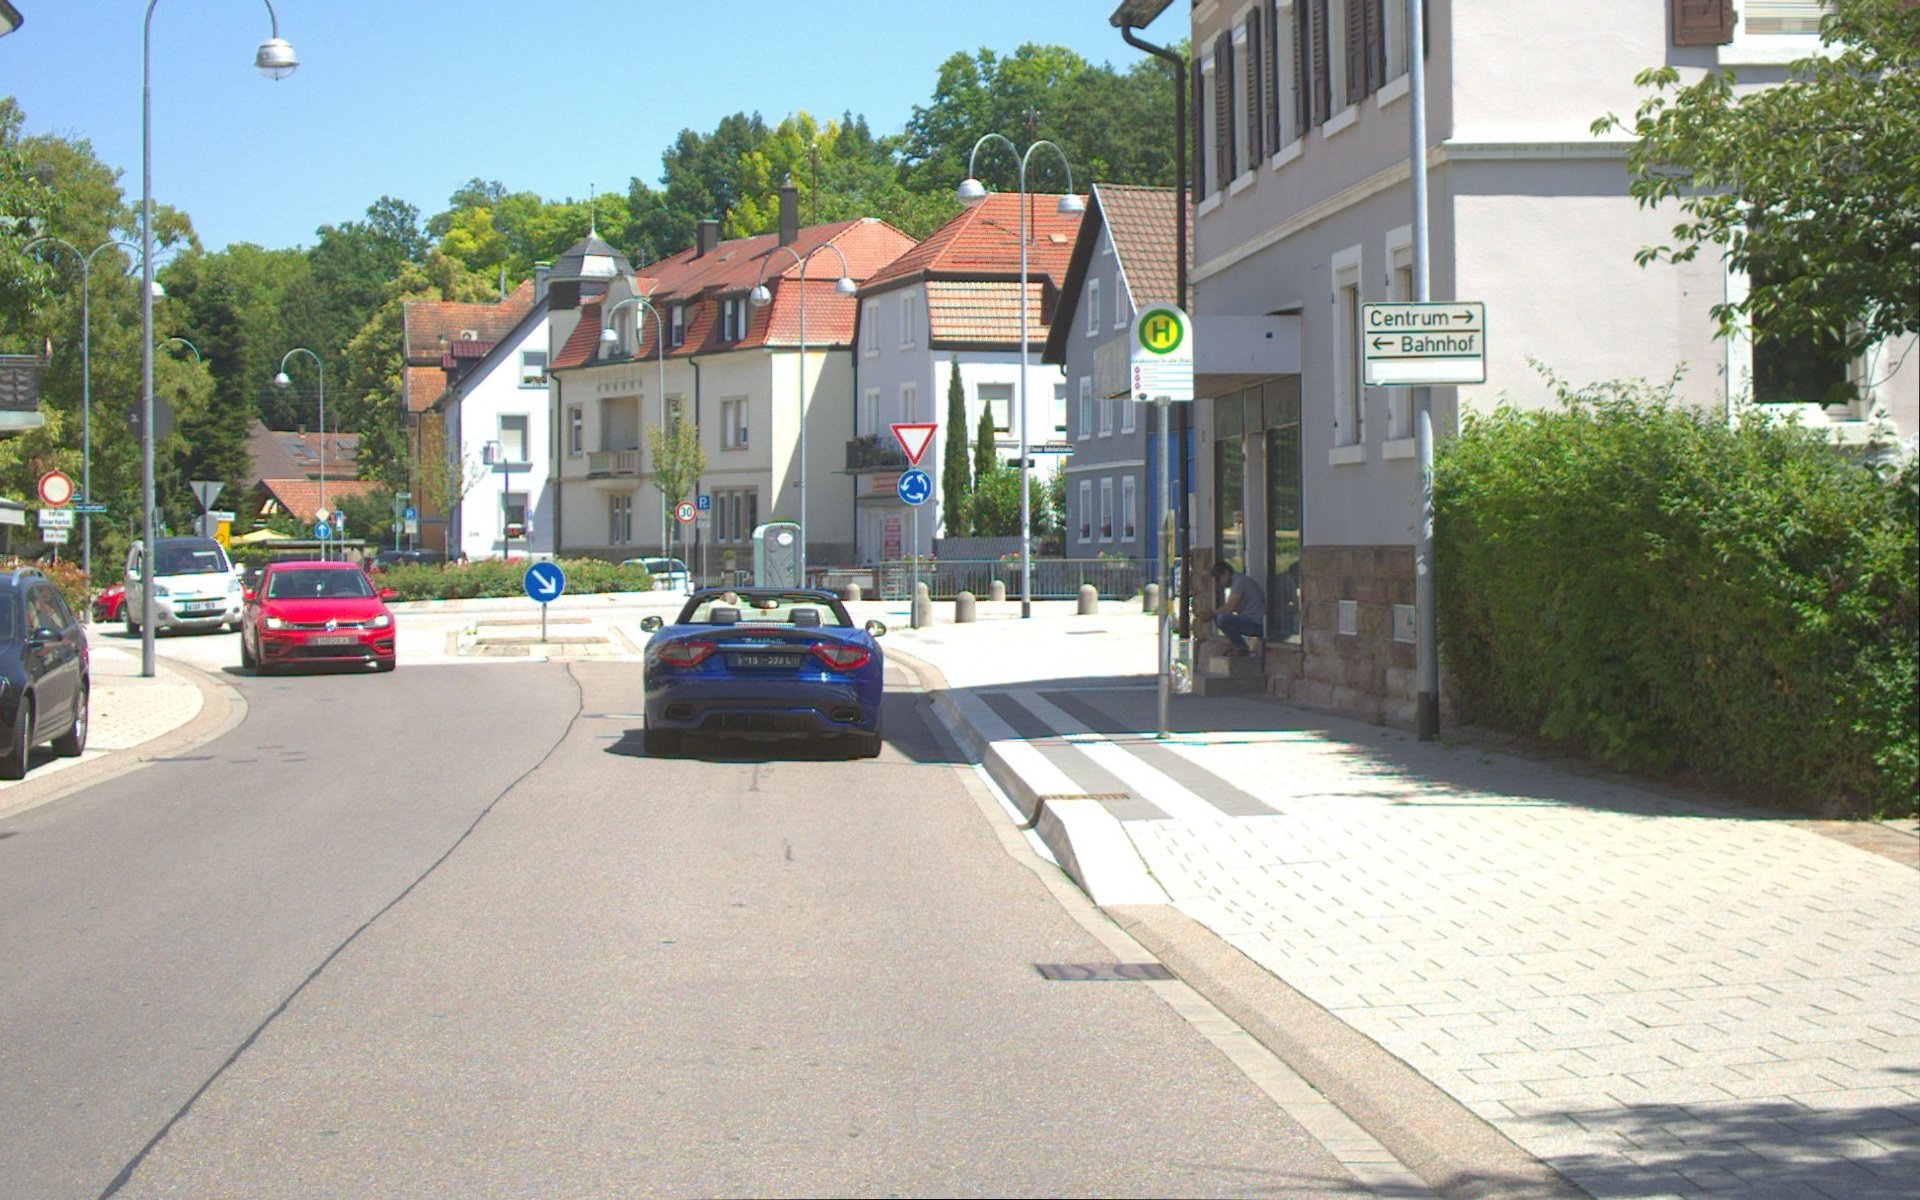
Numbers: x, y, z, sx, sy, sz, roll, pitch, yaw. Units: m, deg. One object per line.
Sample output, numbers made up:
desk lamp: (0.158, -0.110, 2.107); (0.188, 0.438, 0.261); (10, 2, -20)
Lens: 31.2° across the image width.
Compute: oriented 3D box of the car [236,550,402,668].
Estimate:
car: (-8.441, 0.096, 45.530); (1.915, 1.422, 3.981); (-2, 1, -8)

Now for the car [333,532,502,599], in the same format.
car: (-11.313, -0.702, 71.475); (1.993, 1.325, 4.200); (-2, 1, -31)

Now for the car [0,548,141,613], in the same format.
car: (-20.178, -0.426, 76.116); (3.743, 1.327, 1.814); (-2, 1, -21)

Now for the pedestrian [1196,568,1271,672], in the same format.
pedestrian: (2.679, 0.190, 33.751); (0.590, 0.996, 0.724); (-2, 1, -6)

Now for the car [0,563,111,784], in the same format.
car: (-7.707, 0.465, 25.776); (1.915, 1.476, 4.338); (2, 1, -5)

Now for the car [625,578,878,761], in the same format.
car: (-1.706, 0.517, 28.403); (1.910, 1.356, 4.286); (1, 1, -3)

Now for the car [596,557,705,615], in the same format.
car: (-9.087, -0.409, 100.683); (1.918, 1.607, 4.148); (-1, 0, -24)

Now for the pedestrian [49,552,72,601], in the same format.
pedestrian: (-28.863, -0.755, 110.288); (0.535, 1.570, 0.562); (-1, 1, 7)

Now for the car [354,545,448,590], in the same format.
car: (-20.686, -1.207, 127.107); (1.850, 1.582, 3.999); (-2, 1, -34)

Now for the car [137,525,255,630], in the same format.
car: (-14.107, -0.433, 63.362); (1.993, 1.816, 4.417); (-2, 1, -14)
